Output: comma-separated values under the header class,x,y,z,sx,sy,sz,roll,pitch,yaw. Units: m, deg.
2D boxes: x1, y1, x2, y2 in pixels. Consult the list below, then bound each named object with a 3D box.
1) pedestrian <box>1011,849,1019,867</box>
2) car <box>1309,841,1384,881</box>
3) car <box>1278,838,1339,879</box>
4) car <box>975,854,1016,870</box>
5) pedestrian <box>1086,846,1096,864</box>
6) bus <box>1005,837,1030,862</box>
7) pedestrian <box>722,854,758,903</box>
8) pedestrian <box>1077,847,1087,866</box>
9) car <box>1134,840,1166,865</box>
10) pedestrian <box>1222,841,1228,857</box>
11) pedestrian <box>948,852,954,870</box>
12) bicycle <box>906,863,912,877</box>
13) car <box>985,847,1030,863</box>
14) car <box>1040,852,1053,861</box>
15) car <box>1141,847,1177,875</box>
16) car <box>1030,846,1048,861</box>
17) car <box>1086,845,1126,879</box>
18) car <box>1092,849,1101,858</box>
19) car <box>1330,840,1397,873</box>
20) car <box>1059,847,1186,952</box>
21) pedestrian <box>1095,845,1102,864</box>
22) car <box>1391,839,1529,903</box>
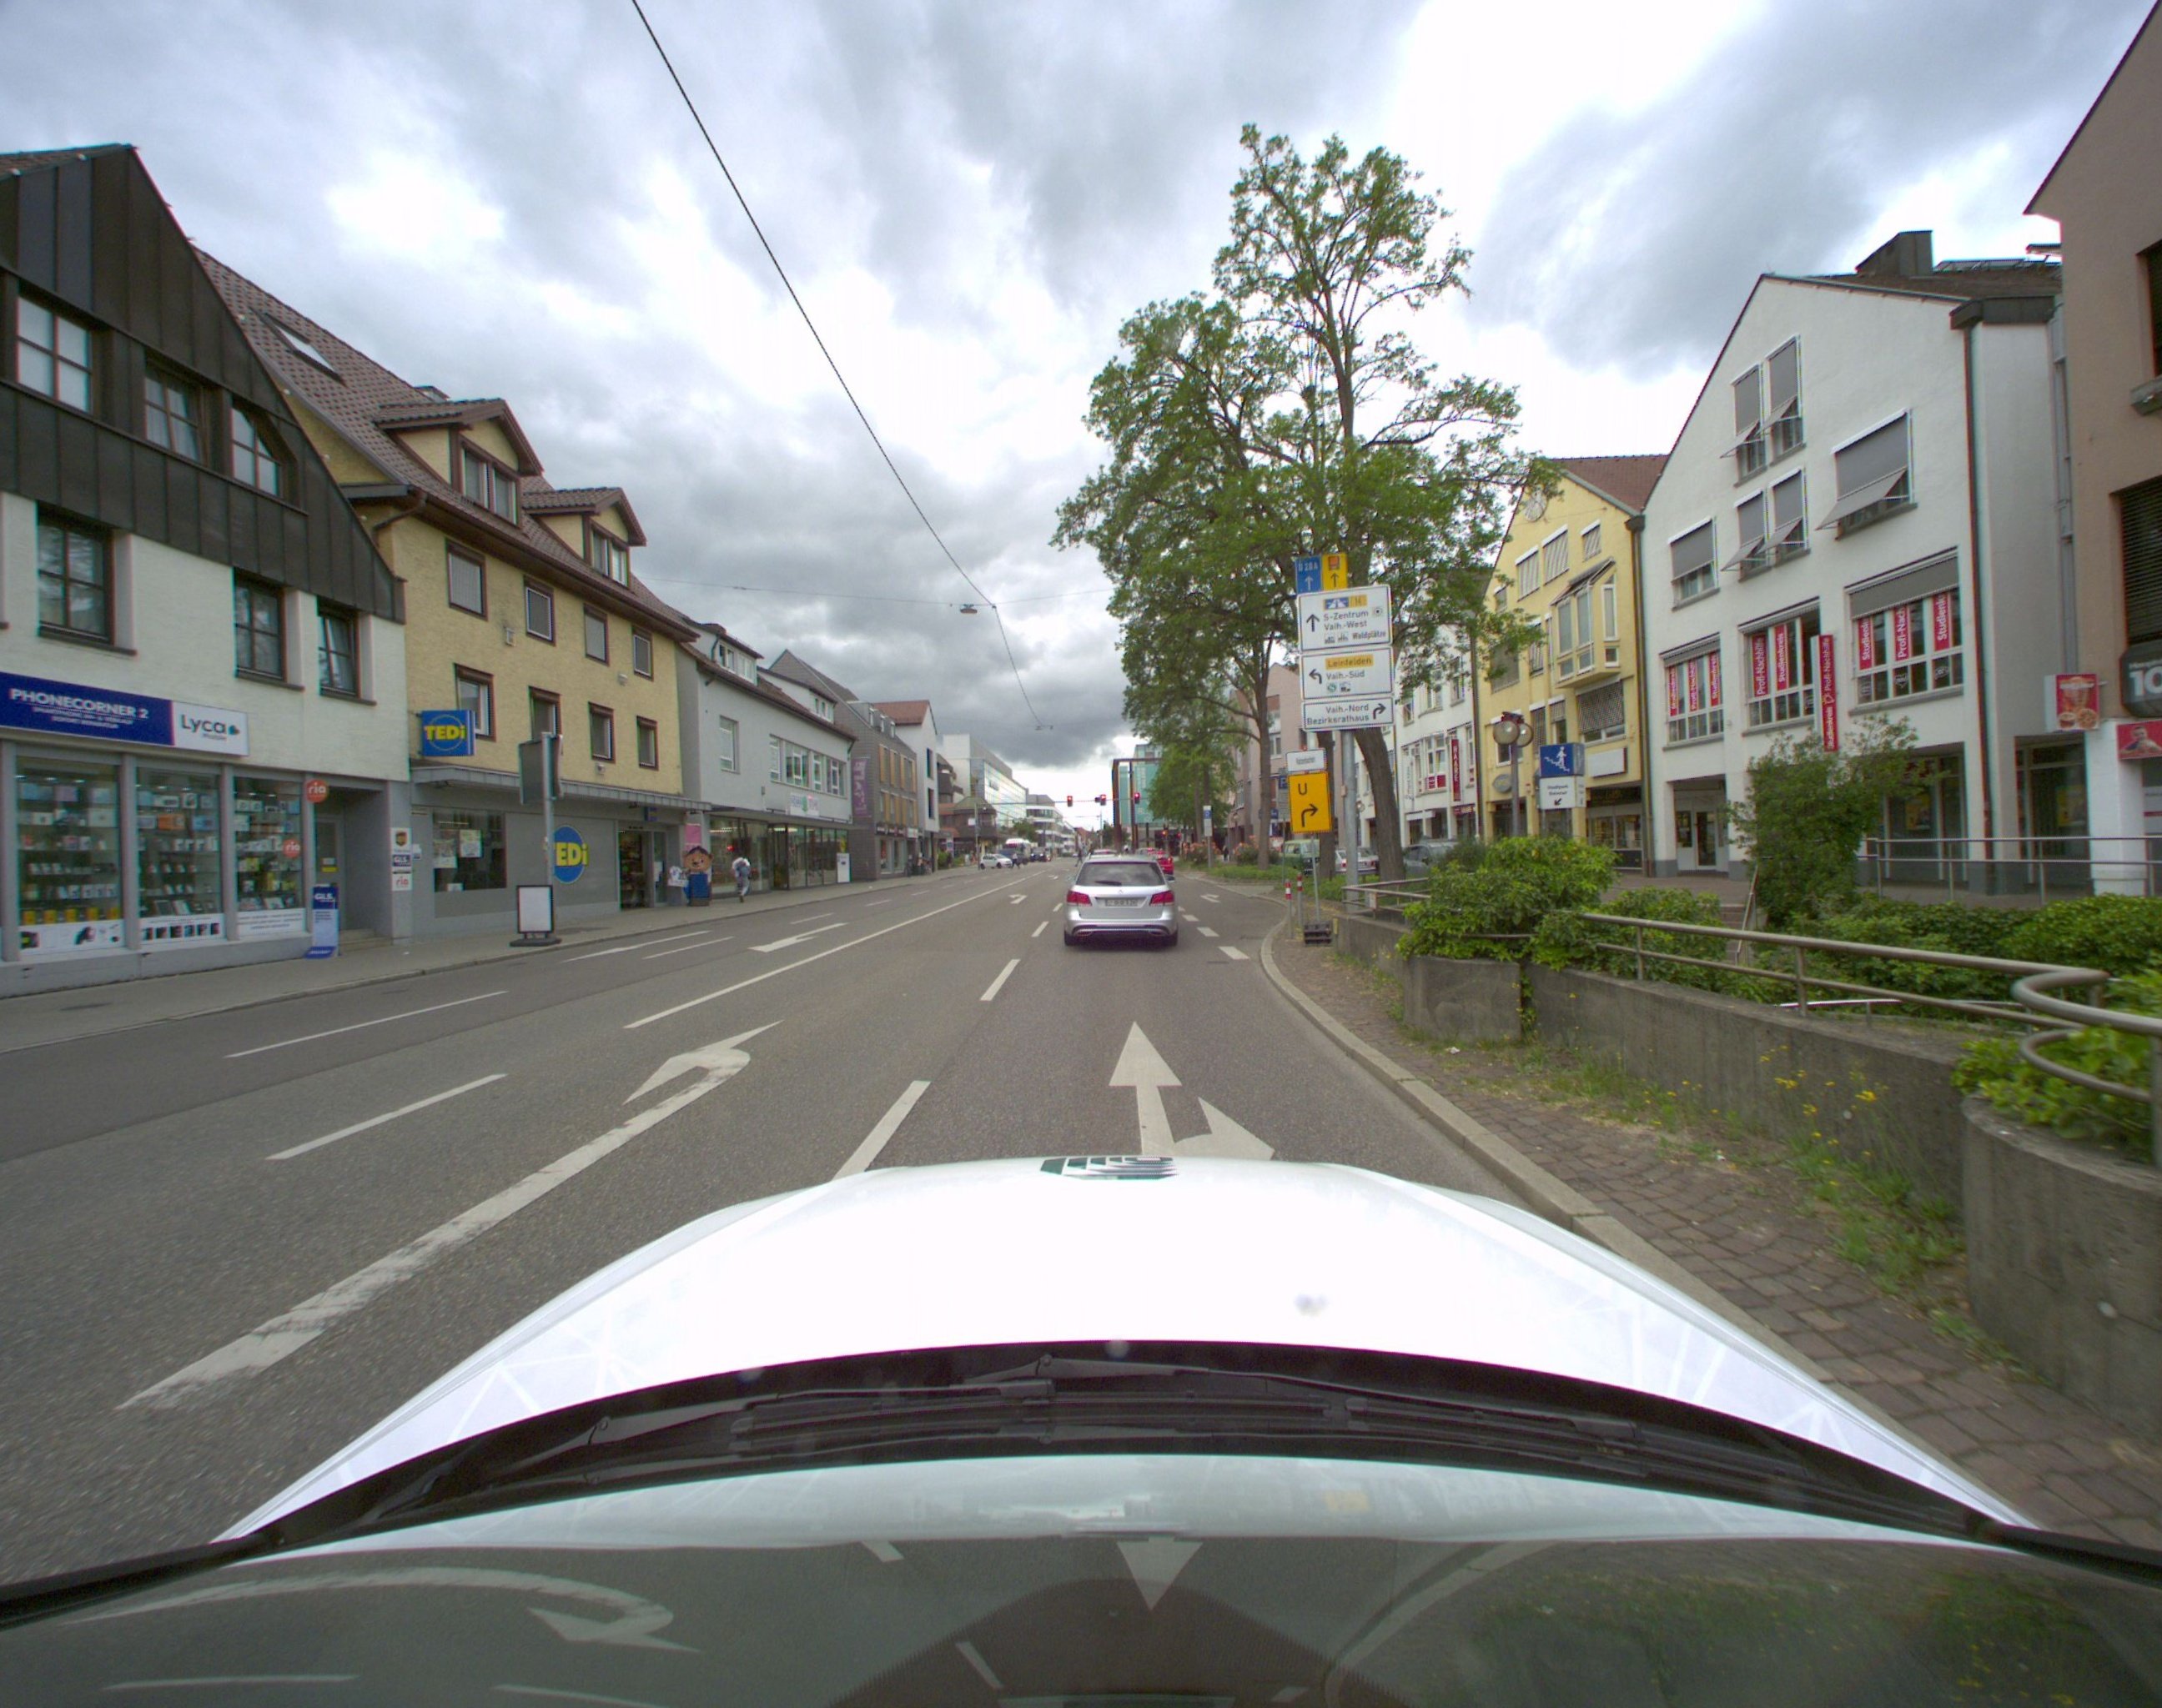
class,x,y,z,sx,sy,sz,roll,pitch,yaw
pedestrian,-5.823,0.360,72.010,0.612,1.634,0.586,1,1,-7
car,11.401,0.270,35.242,1.861,1.527,3.998,-2,0,-1
car,11.251,0.201,40.565,1.860,1.864,4.000,-2,0,0
car,-8.652,0.808,82.437,3.948,1.530,1.677,-2,0,33
pedestrian,0.890,0.121,74.613,0.854,1.634,0.588,1,1,3
bus,-8.754,-0.632,113.196,2.765,3.165,5.935,-2,0,2
pedestrian,-11.500,0.807,27.481,0.815,1.634,0.979,0,0,-4
pedestrian,0.088,0.224,73.793,0.831,1.634,0.587,1,1,-2
car,4.802,-0.118,57.192,1.986,1.684,4.002,-2,0,2
pedestrian,14.726,-0.474,83.207,0.608,1.634,0.590,1,1,14
pedestrian,-12.542,0.646,78.521,0.586,1.669,0.639,1,1,-12
bicycle,-11.420,1.041,54.181,0.273,0.891,1.225,-2,0,-8
car,-8.744,0.117,97.083,4.936,1.823,1.982,-2,0,-27
car,-5.100,0.293,120.430,1.569,1.244,3.608,-2,0,2
car,4.531,0.405,47.798,1.748,1.521,4.001,-2,0,1
car,-5.757,-0.092,111.993,1.986,2.013,4.002,-2,0,2
car,1.367,0.386,43.779,1.986,1.684,4.002,-2,0,2
car,3.710,-0.108,188.879,1.986,2.013,4.001,-2,0,1
car,13.985,0.111,40.584,1.861,1.527,3.998,-2,0,-1
car,0.613,0.673,14.167,1.868,1.506,3.999,-2,0,0
pedestrian,1.558,0.039,72.304,0.611,1.634,0.587,1,1,-2
car,11.061,0.447,24.188,1.875,1.638,4.497,-2,0,-2
